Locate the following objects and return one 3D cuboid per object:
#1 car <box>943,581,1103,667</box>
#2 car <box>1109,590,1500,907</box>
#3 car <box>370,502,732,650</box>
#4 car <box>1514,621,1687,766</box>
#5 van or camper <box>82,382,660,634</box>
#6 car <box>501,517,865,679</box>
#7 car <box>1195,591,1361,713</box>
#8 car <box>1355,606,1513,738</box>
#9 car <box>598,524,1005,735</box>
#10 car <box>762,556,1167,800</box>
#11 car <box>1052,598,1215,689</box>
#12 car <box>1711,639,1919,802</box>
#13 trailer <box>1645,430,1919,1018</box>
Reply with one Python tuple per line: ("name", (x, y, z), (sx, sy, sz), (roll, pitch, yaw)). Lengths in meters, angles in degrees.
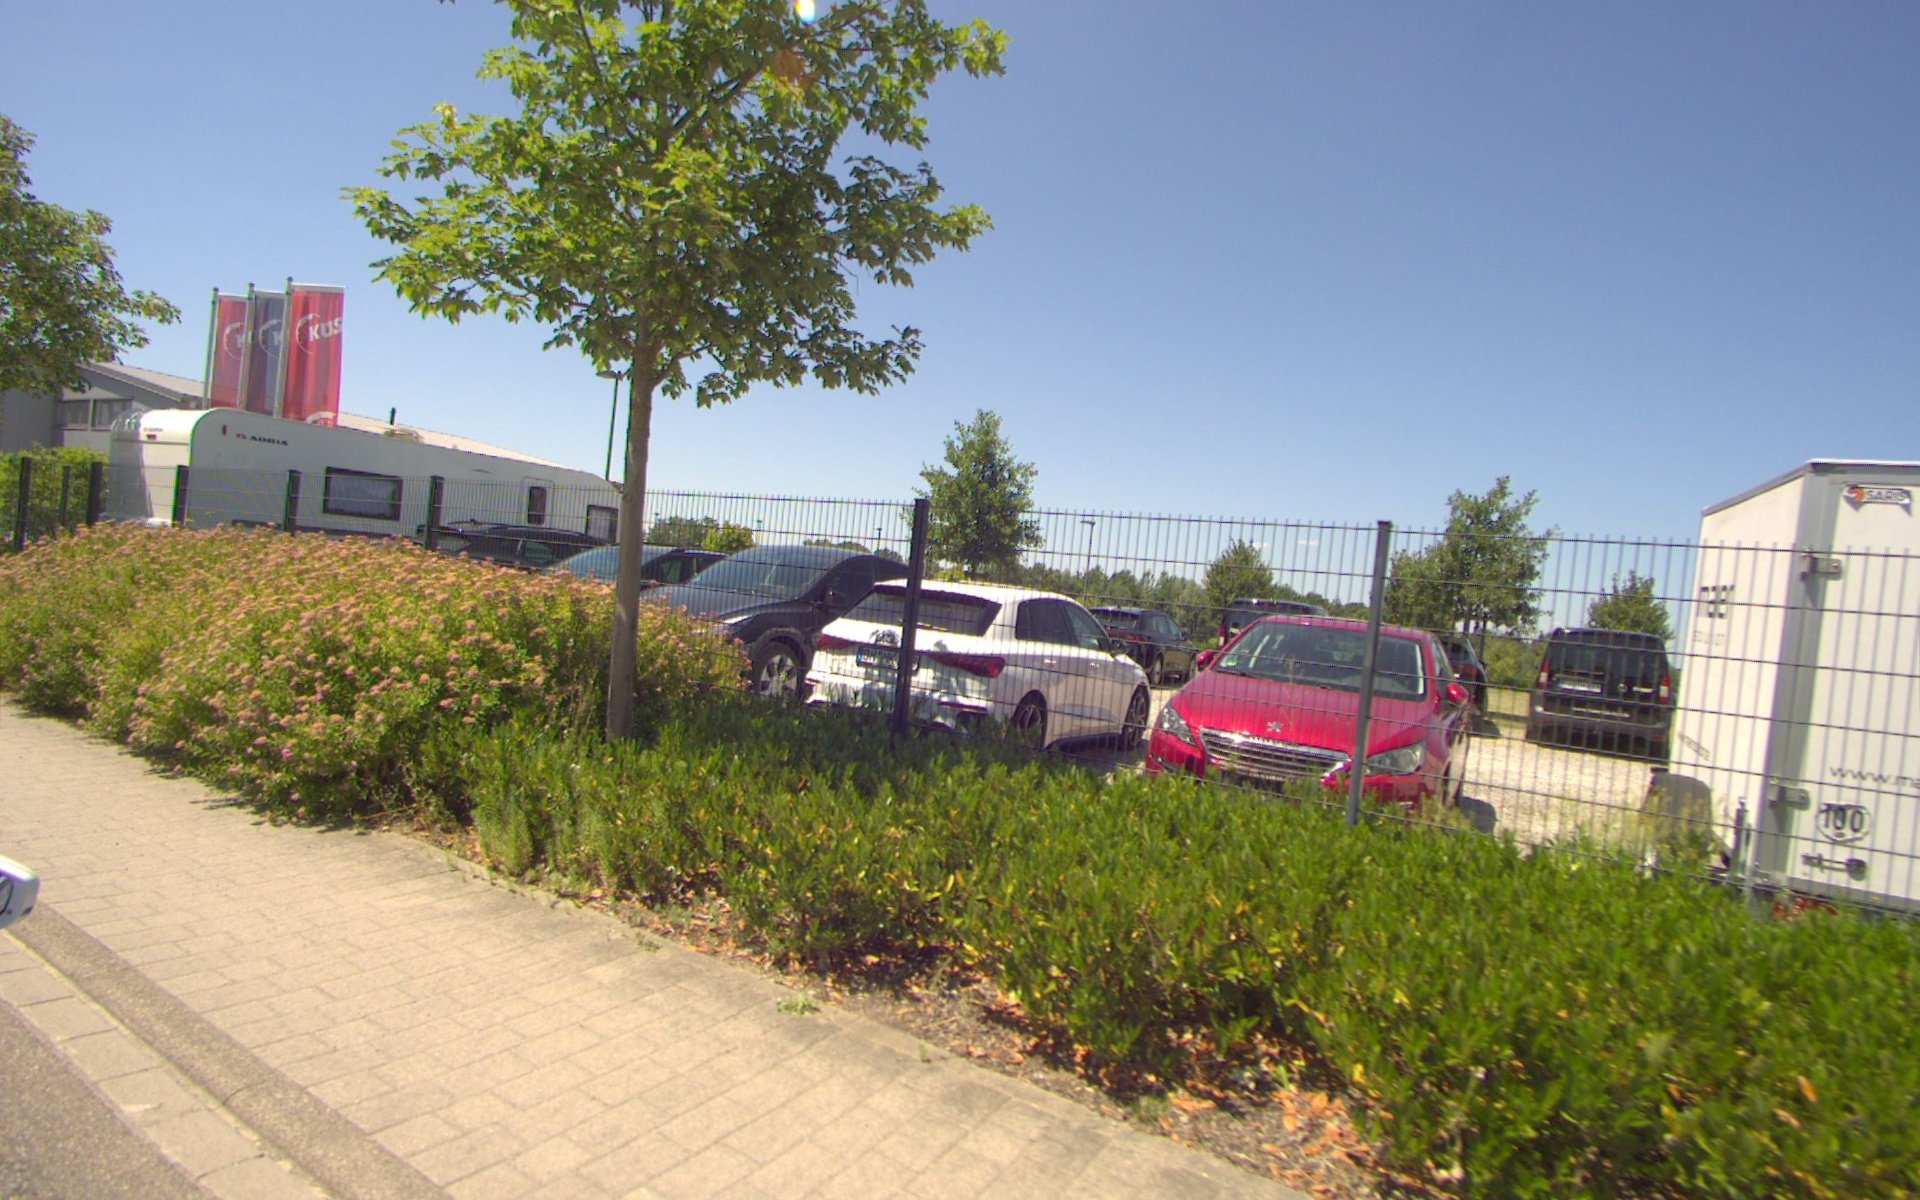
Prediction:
("car", (1.493, 0.572, 22.184), (1.719, 1.568, 4.044), (6, 1, 31))
("car", (2.733, 0.833, 7.324), (1.776, 1.495, 3.892), (6, 2, 31))
("car", (-5.200, -0.235, 13.352), (1.778, 1.557, 4.139), (6, 1, 31))
("car", (10.036, 1.385, 15.932), (1.886, 1.786, 4.044), (6, 1, 31))
("van or camper", (-8.017, -1.041, 14.758), (2.592, 2.617, 6.763), (6, 0, 31))
("car", (-3.179, 0.018, 12.366), (1.778, 1.557, 4.139), (6, 1, 31))
("car", (5.993, 0.948, 18.634), (1.886, 1.830, 4.044), (6, 1, 31))
("car", (8.180, 1.172, 17.150), (1.886, 1.786, 4.044), (6, 1, 31))
("car", (-1.388, 0.287, 10.520), (1.778, 1.641, 4.254), (6, 1, 31))
("car", (0.286, 0.546, 8.631), (1.775, 1.459, 3.844), (6, 1, 28))
("car", (3.534, 0.867, 19.904), (1.719, 1.450, 4.044), (6, 1, 31))
("car", (12.262, 1.596, 14.358), (1.886, 1.823, 4.044), (6, 1, 31))
("trailer", (4.834, 0.584, 5.358), (1.395, 2.435, 2.825), (7, 2, 28))
